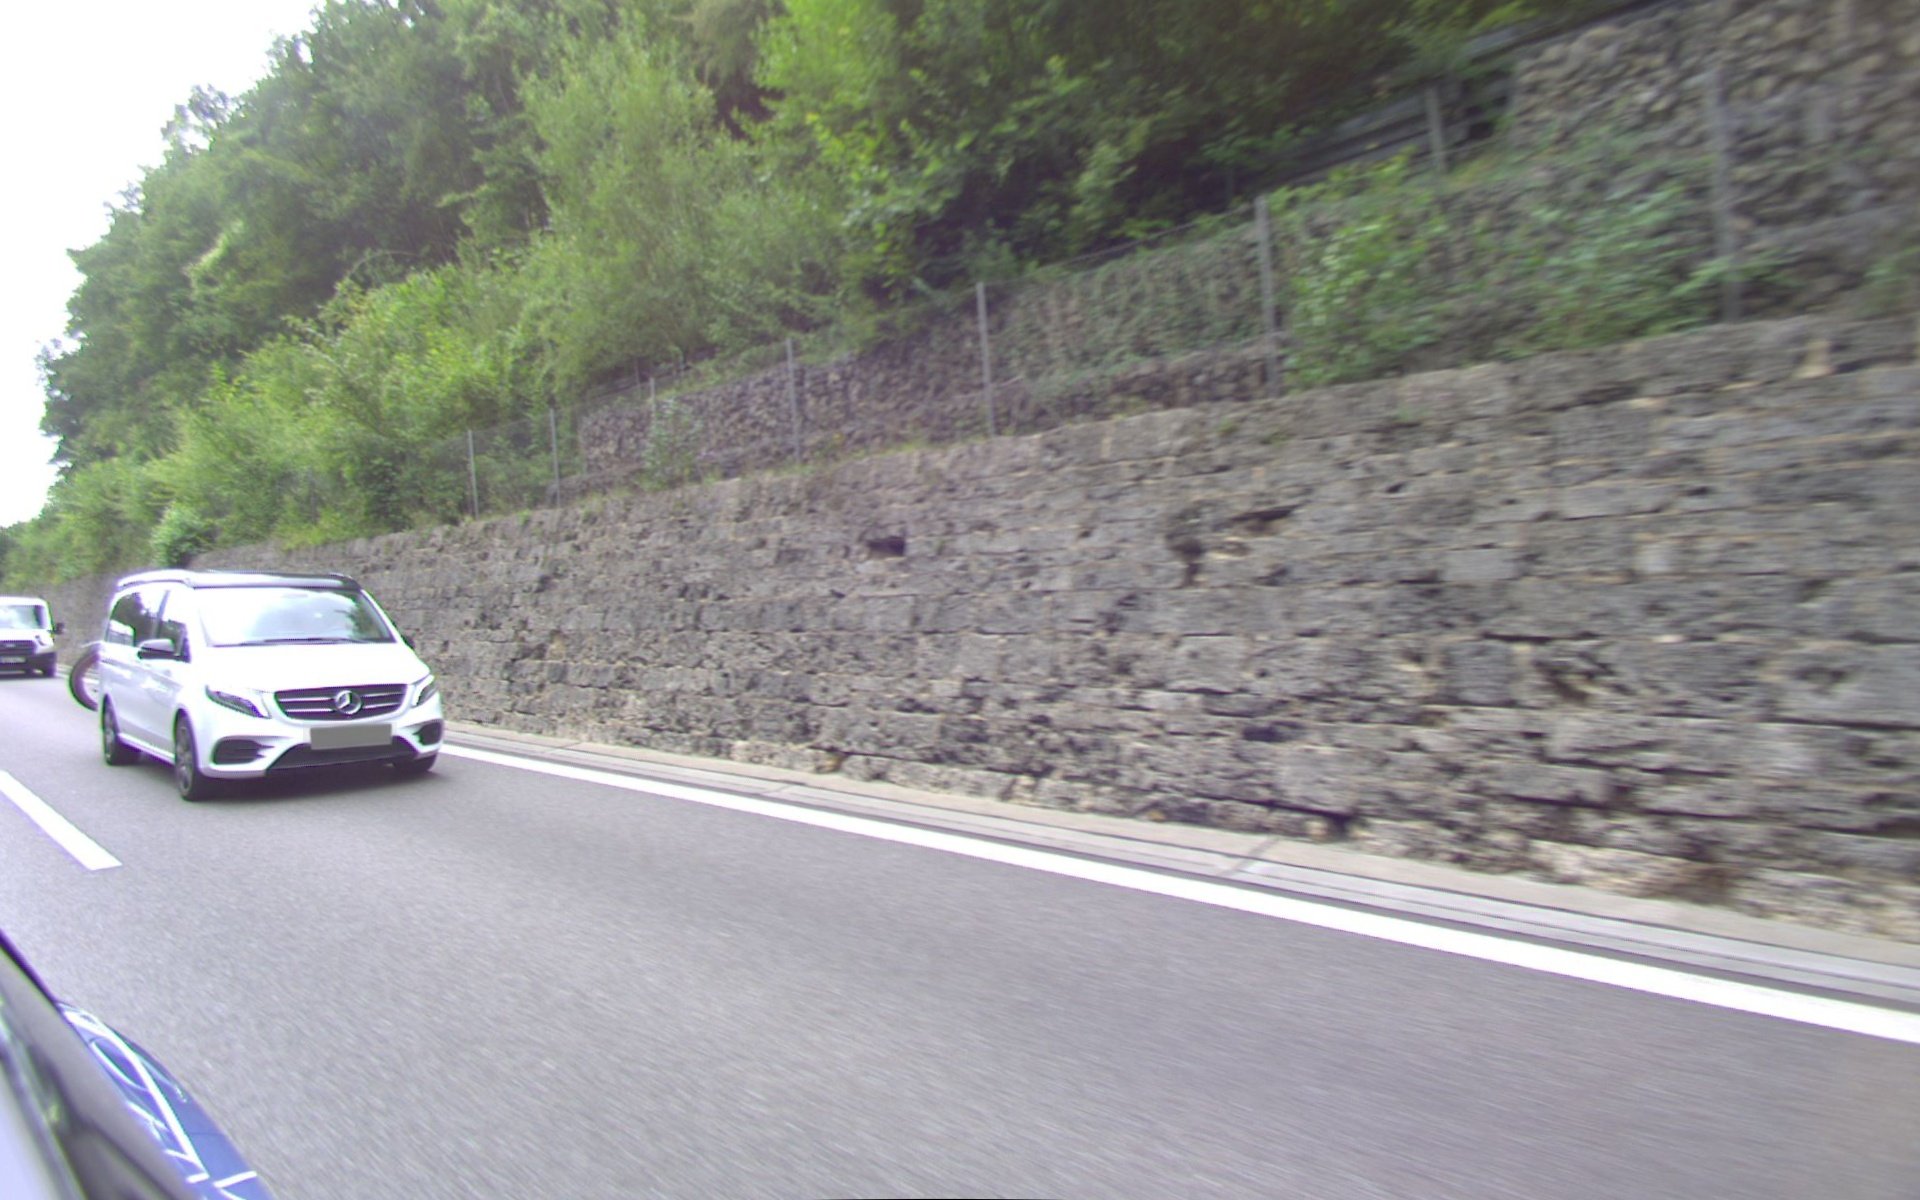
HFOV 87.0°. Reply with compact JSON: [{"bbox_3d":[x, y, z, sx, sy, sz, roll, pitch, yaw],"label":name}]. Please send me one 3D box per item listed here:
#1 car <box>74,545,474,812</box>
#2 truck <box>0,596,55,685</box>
[{"bbox_3d":[-7.226,0.627,10.266,6.146,1.967,1.972,-2,0,42],"label":"car"},{"bbox_3d":[-27.383,1.126,28.524,6.582,2.297,1.973,-2,0,41],"label":"truck"}]
